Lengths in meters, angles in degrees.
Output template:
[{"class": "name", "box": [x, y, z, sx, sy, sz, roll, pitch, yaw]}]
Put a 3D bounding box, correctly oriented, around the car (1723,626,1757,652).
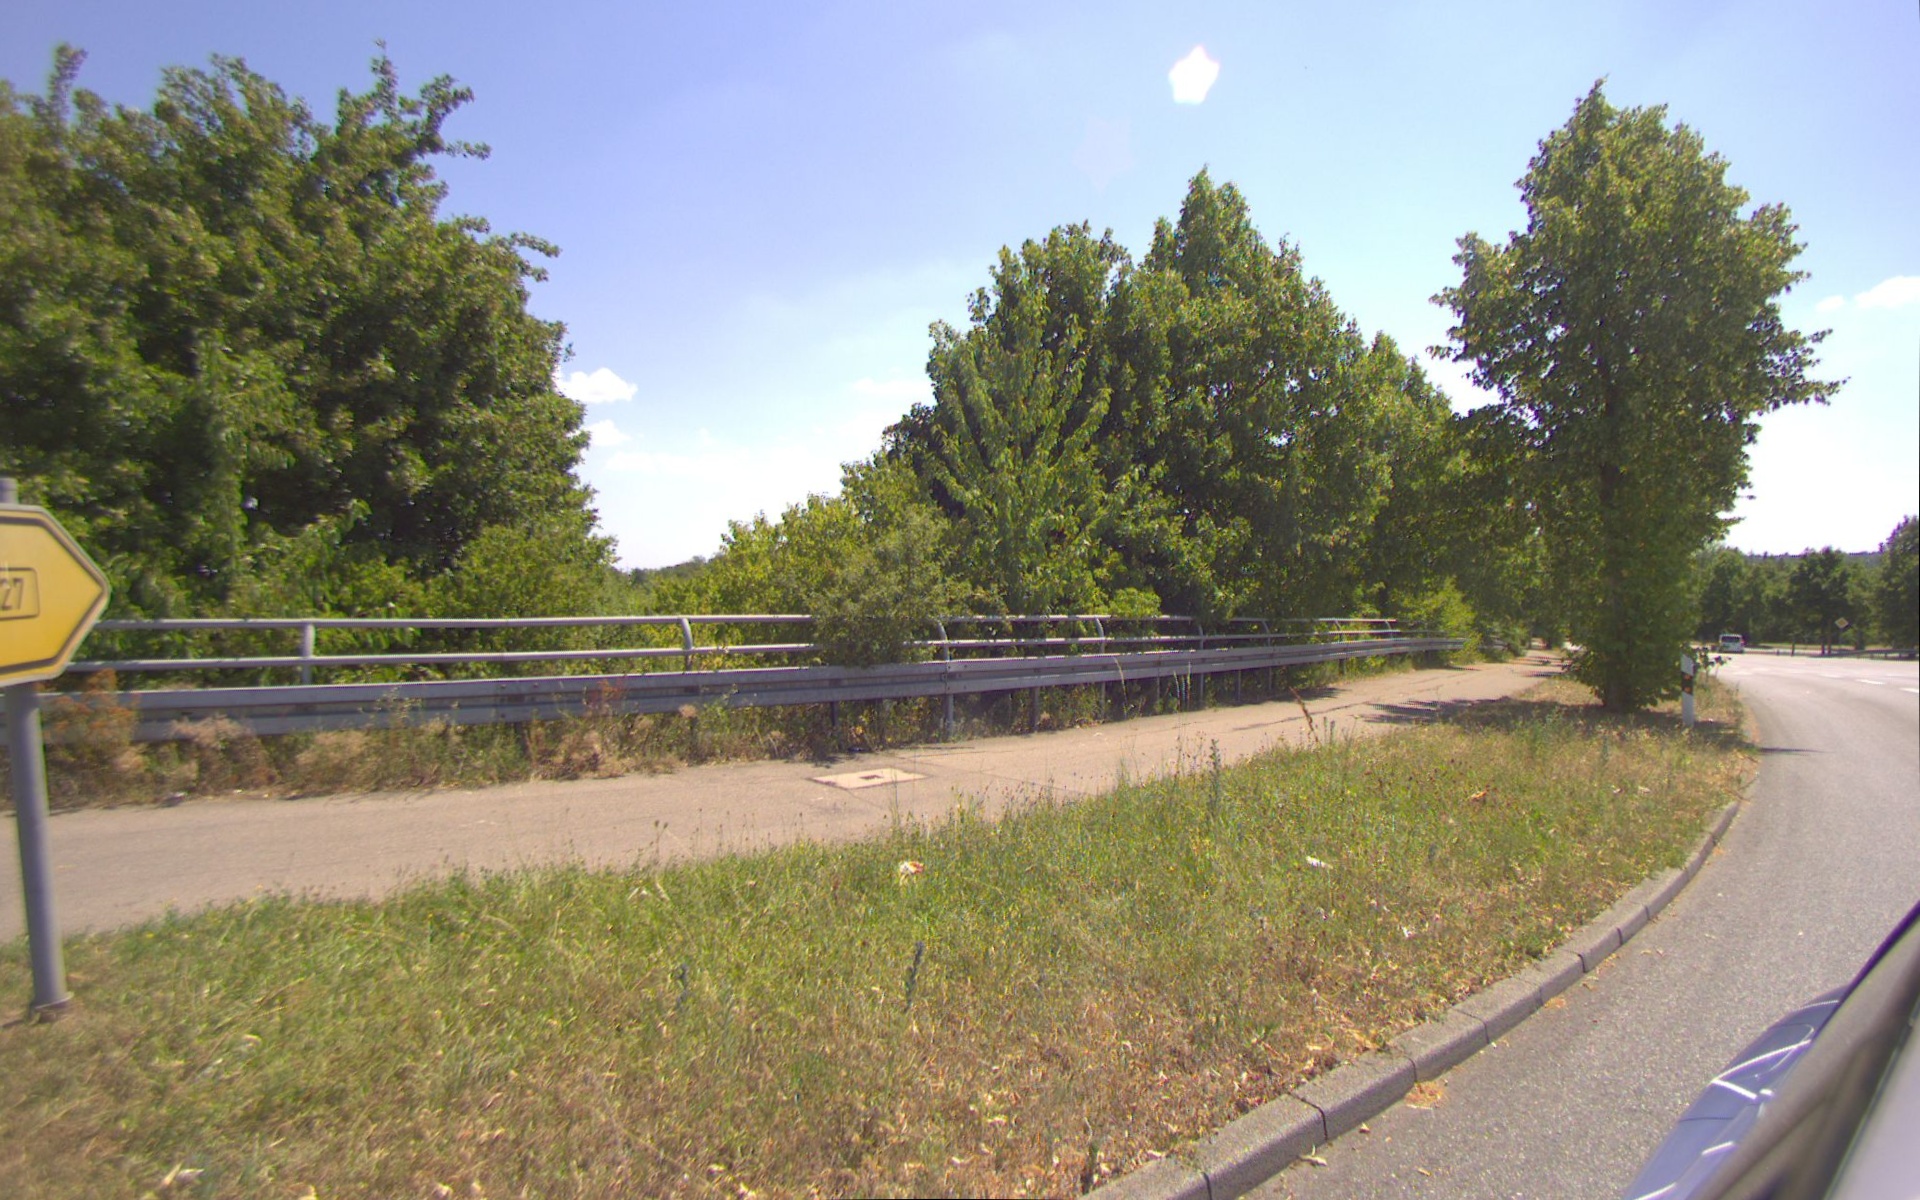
[{"class": "car", "box": [65.945, 3.288, 85.591, 1.987, 1.985, 3.951, 0, 0, 34]}]
